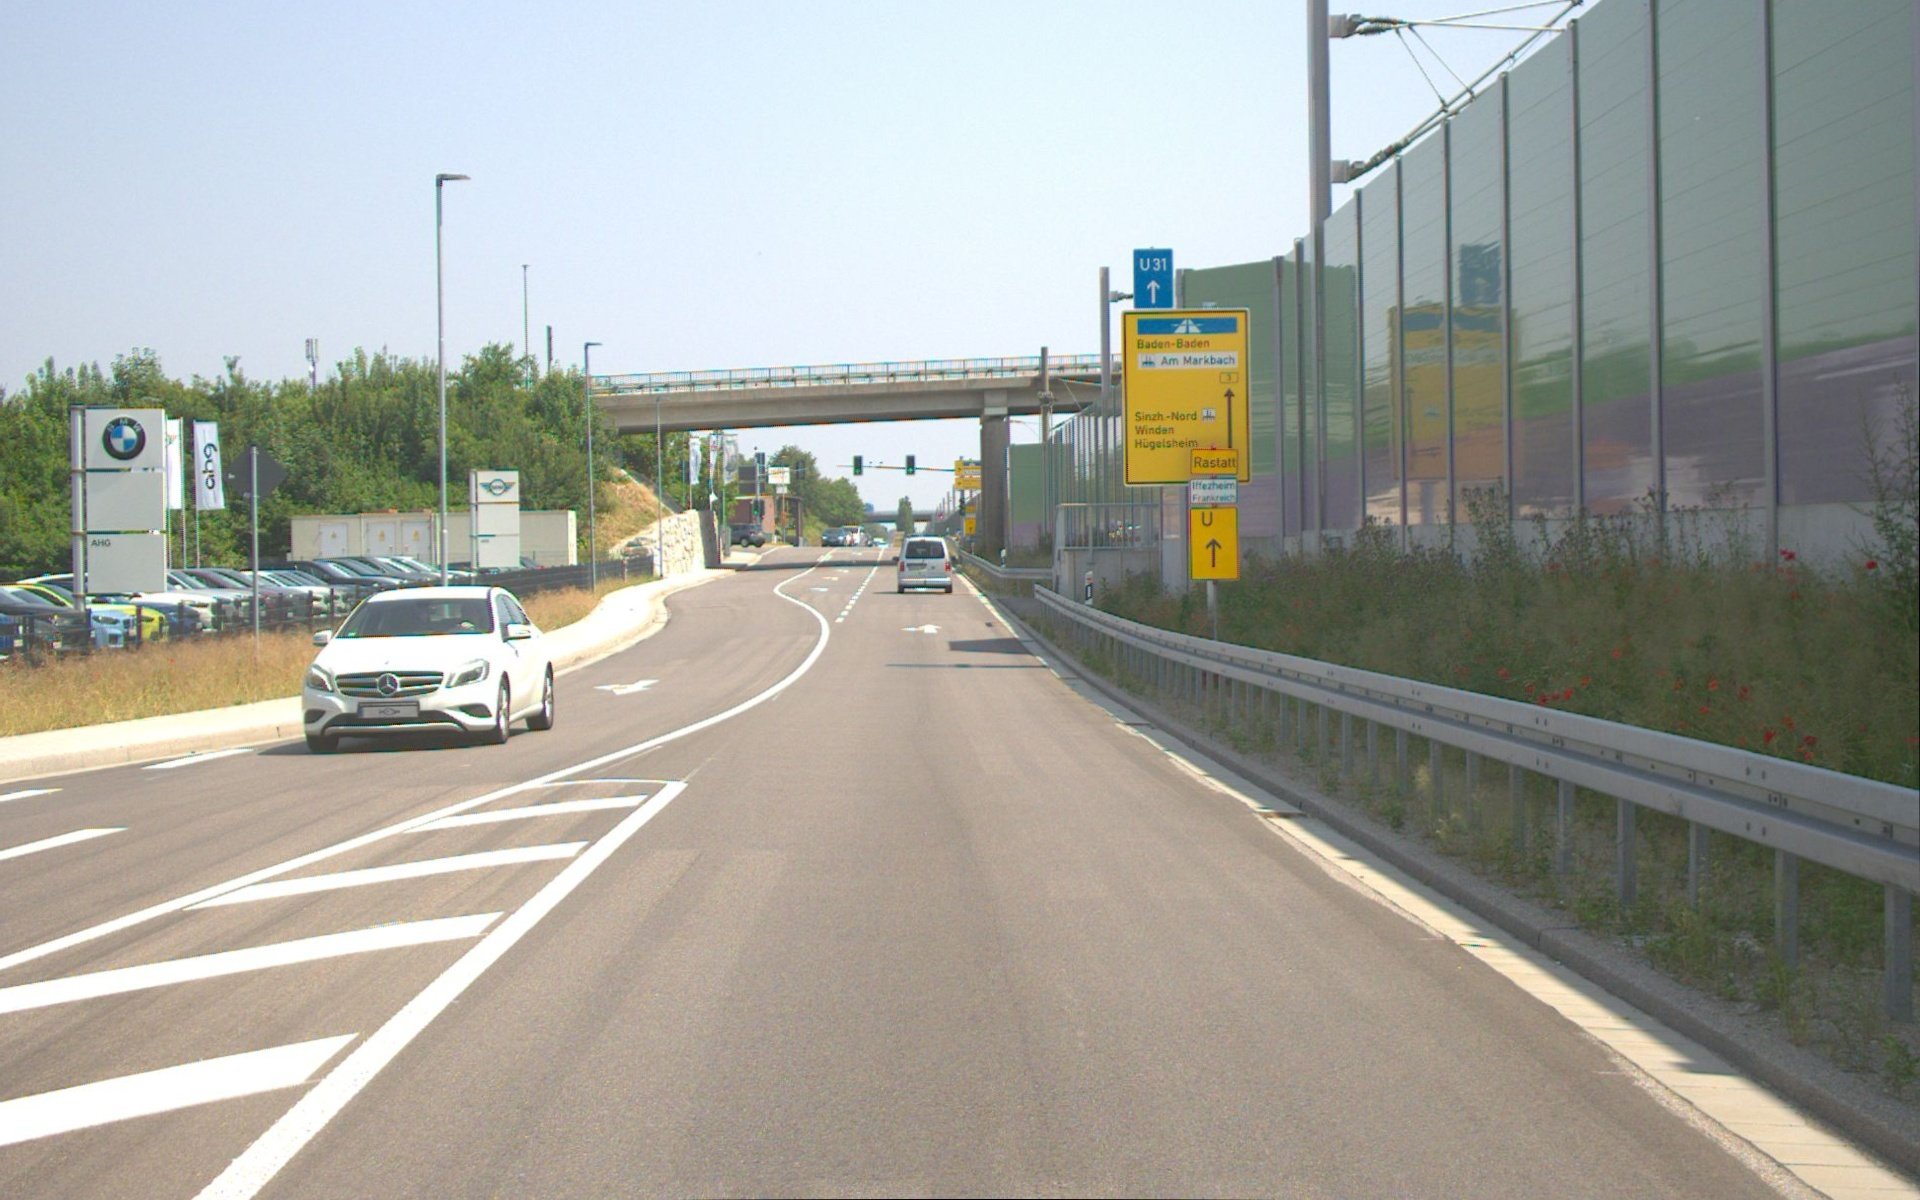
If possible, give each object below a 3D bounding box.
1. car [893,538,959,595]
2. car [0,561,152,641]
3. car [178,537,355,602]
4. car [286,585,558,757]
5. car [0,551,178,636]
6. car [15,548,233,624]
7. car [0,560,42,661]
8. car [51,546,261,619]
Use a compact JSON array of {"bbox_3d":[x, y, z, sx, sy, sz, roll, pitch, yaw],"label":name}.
[{"bbox_3d":[-1.077,-1.096,110.058,1.993,1.751,4.000,-1,1,1],"label":"car"},{"bbox_3d":[-17.416,0.021,64.618,3.987,1.386,1.879,-1,2,1],"label":"car"},{"bbox_3d":[-17.914,-0.809,88.916,4.164,1.539,1.815,-1,2,0],"label":"car"},{"bbox_3d":[-4.896,0.606,31.791,1.781,1.411,4.050,-1,1,1],"label":"car"},{"bbox_3d":[-17.556,-0.126,67.461,3.987,1.529,1.815,-1,2,0],"label":"car"},{"bbox_3d":[-17.708,-0.299,72.943,4.164,1.461,1.815,-1,2,0],"label":"car"},{"bbox_3d":[-16.881,0.205,54.779,3.986,1.529,1.972,-1,2,-2],"label":"car"},{"bbox_3d":[-17.689,-0.390,75.740,4.164,1.461,1.815,-1,2,0],"label":"car"}]
